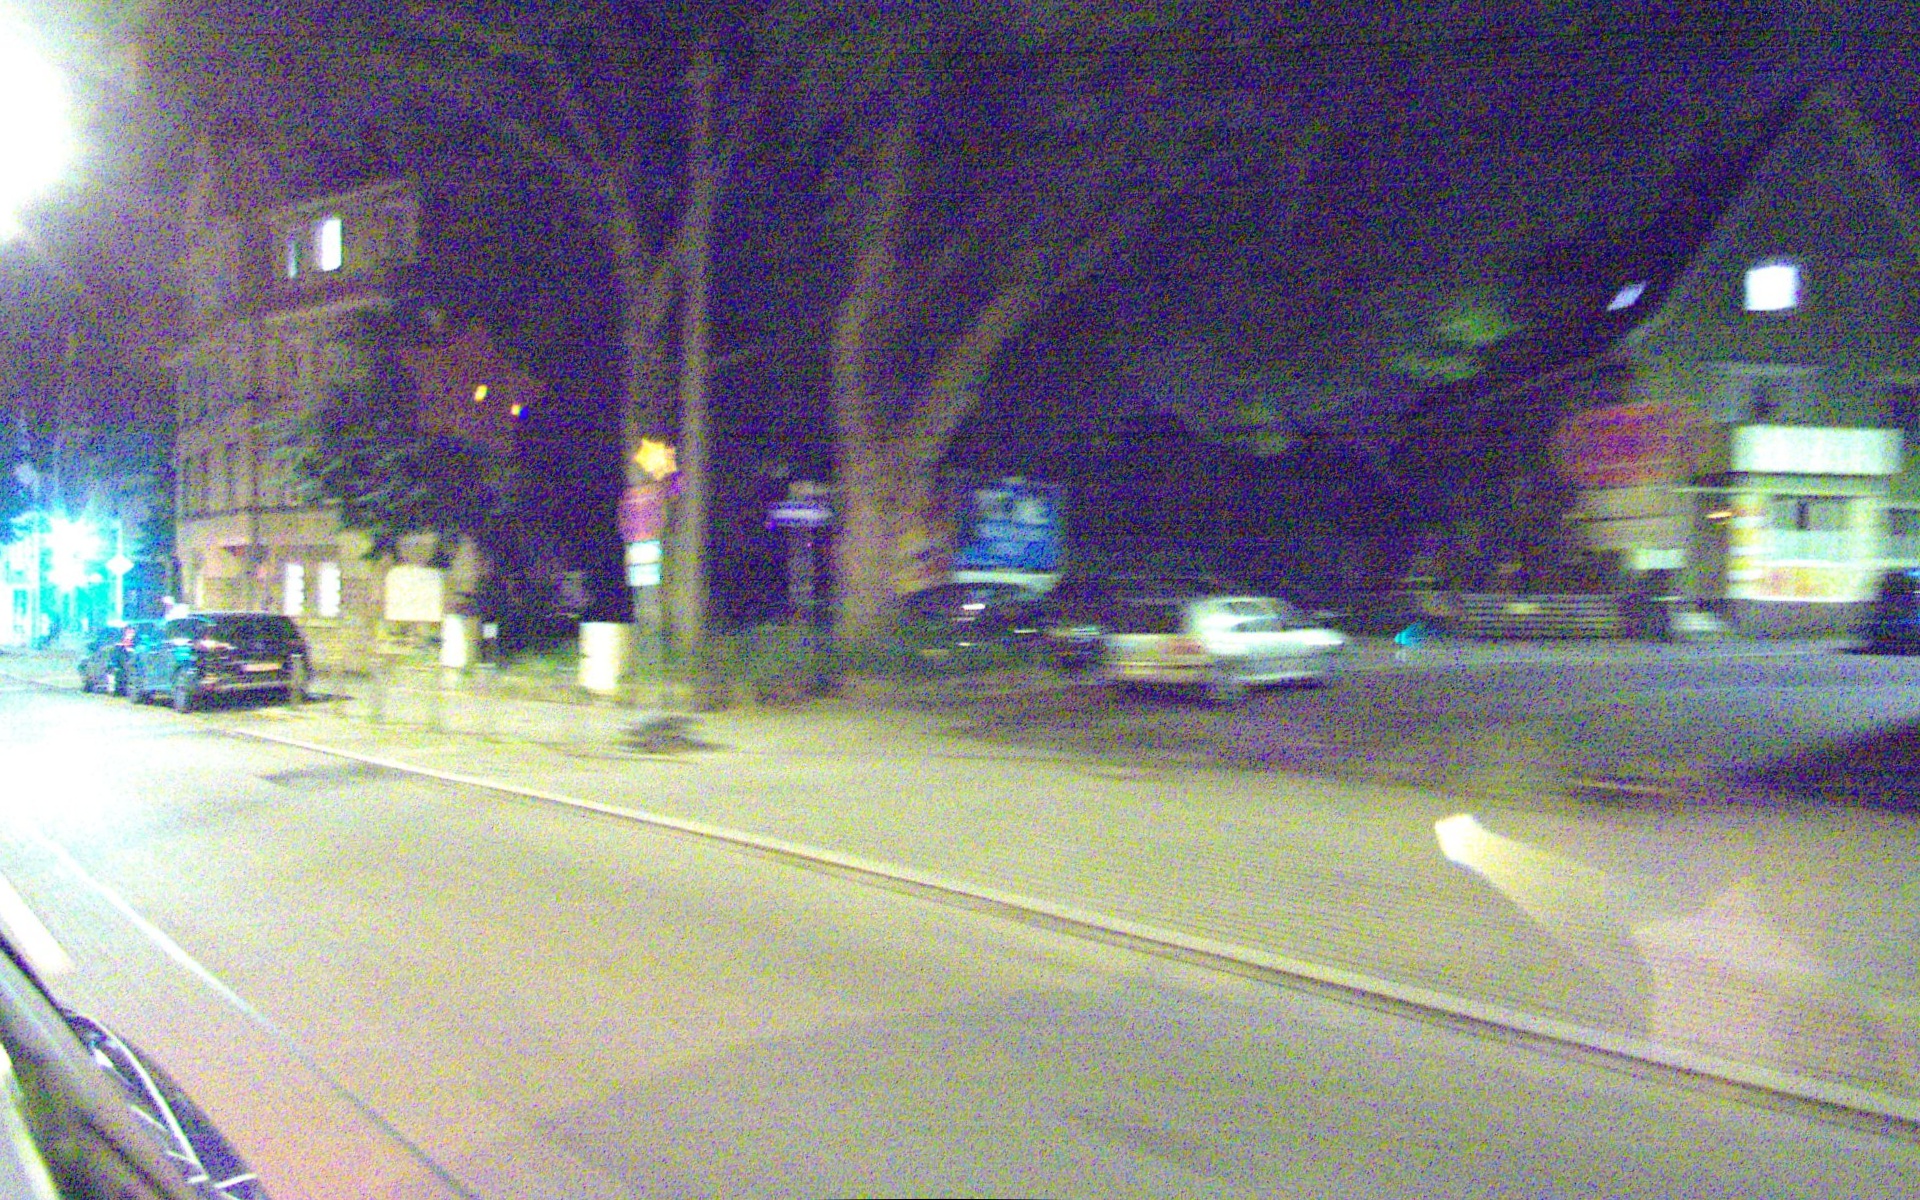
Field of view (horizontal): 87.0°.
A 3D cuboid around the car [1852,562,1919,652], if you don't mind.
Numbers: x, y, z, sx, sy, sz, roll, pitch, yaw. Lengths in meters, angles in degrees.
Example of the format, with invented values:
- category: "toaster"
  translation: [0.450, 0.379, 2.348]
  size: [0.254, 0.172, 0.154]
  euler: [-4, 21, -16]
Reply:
- category: "car"
  translation: [18.360, 0.092, 18.029]
  size: [3.335, 1.572, 1.731]
  euler: [-1, 0, 1]

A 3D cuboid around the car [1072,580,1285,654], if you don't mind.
- category: "car"
  translation: [4.549, 0.339, 21.605]
  size: [1.652, 1.428, 4.334]
  euler: [-1, 0, -40]

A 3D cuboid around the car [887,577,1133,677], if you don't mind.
- category: "car"
  translation: [0.816, 0.439, 18.134]
  size: [4.184, 1.549, 1.739]
  euler: [-1, 2, 40]

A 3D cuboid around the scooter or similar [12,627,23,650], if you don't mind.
- category: "scooter or similar"
  translation: [-50.472, 2.051, 54.186]
  size: [1.335, 1.235, 0.328]
  euler: [-1, 0, 43]

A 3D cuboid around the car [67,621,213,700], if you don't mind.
- category: "car"
  translation: [-17.727, 1.234, 21.835]
  size: [3.696, 1.526, 1.632]
  euler: [-1, 0, 37]

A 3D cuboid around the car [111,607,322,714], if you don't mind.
- category: "car"
  translation: [-13.493, 1.038, 18.258]
  size: [4.664, 1.663, 1.831]
  euler: [-2, -1, 37]

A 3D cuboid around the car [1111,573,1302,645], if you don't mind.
- category: "car"
  translation: [5.742, 0.202, 24.024]
  size: [1.822, 1.555, 4.159]
  euler: [-1, 0, -38]

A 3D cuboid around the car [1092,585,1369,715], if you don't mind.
- category: "car"
  translation: [3.859, 0.591, 14.126]
  size: [3.937, 1.435, 1.765]
  euler: [-3, 2, -40]

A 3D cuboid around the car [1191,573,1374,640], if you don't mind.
- category: "car"
  translation: [8.060, 0.162, 25.549]
  size: [1.861, 1.551, 4.006]
  euler: [-1, 0, -40]

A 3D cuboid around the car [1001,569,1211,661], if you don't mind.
- category: "car"
  translation: [2.822, 0.252, 20.205]
  size: [1.734, 1.618, 3.987]
  euler: [-3, 2, -40]

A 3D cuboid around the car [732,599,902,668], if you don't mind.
- category: "car"
  translation: [-3.050, 0.670, 21.322]
  size: [3.559, 1.326, 1.541]
  euler: [-1, 0, 39]
